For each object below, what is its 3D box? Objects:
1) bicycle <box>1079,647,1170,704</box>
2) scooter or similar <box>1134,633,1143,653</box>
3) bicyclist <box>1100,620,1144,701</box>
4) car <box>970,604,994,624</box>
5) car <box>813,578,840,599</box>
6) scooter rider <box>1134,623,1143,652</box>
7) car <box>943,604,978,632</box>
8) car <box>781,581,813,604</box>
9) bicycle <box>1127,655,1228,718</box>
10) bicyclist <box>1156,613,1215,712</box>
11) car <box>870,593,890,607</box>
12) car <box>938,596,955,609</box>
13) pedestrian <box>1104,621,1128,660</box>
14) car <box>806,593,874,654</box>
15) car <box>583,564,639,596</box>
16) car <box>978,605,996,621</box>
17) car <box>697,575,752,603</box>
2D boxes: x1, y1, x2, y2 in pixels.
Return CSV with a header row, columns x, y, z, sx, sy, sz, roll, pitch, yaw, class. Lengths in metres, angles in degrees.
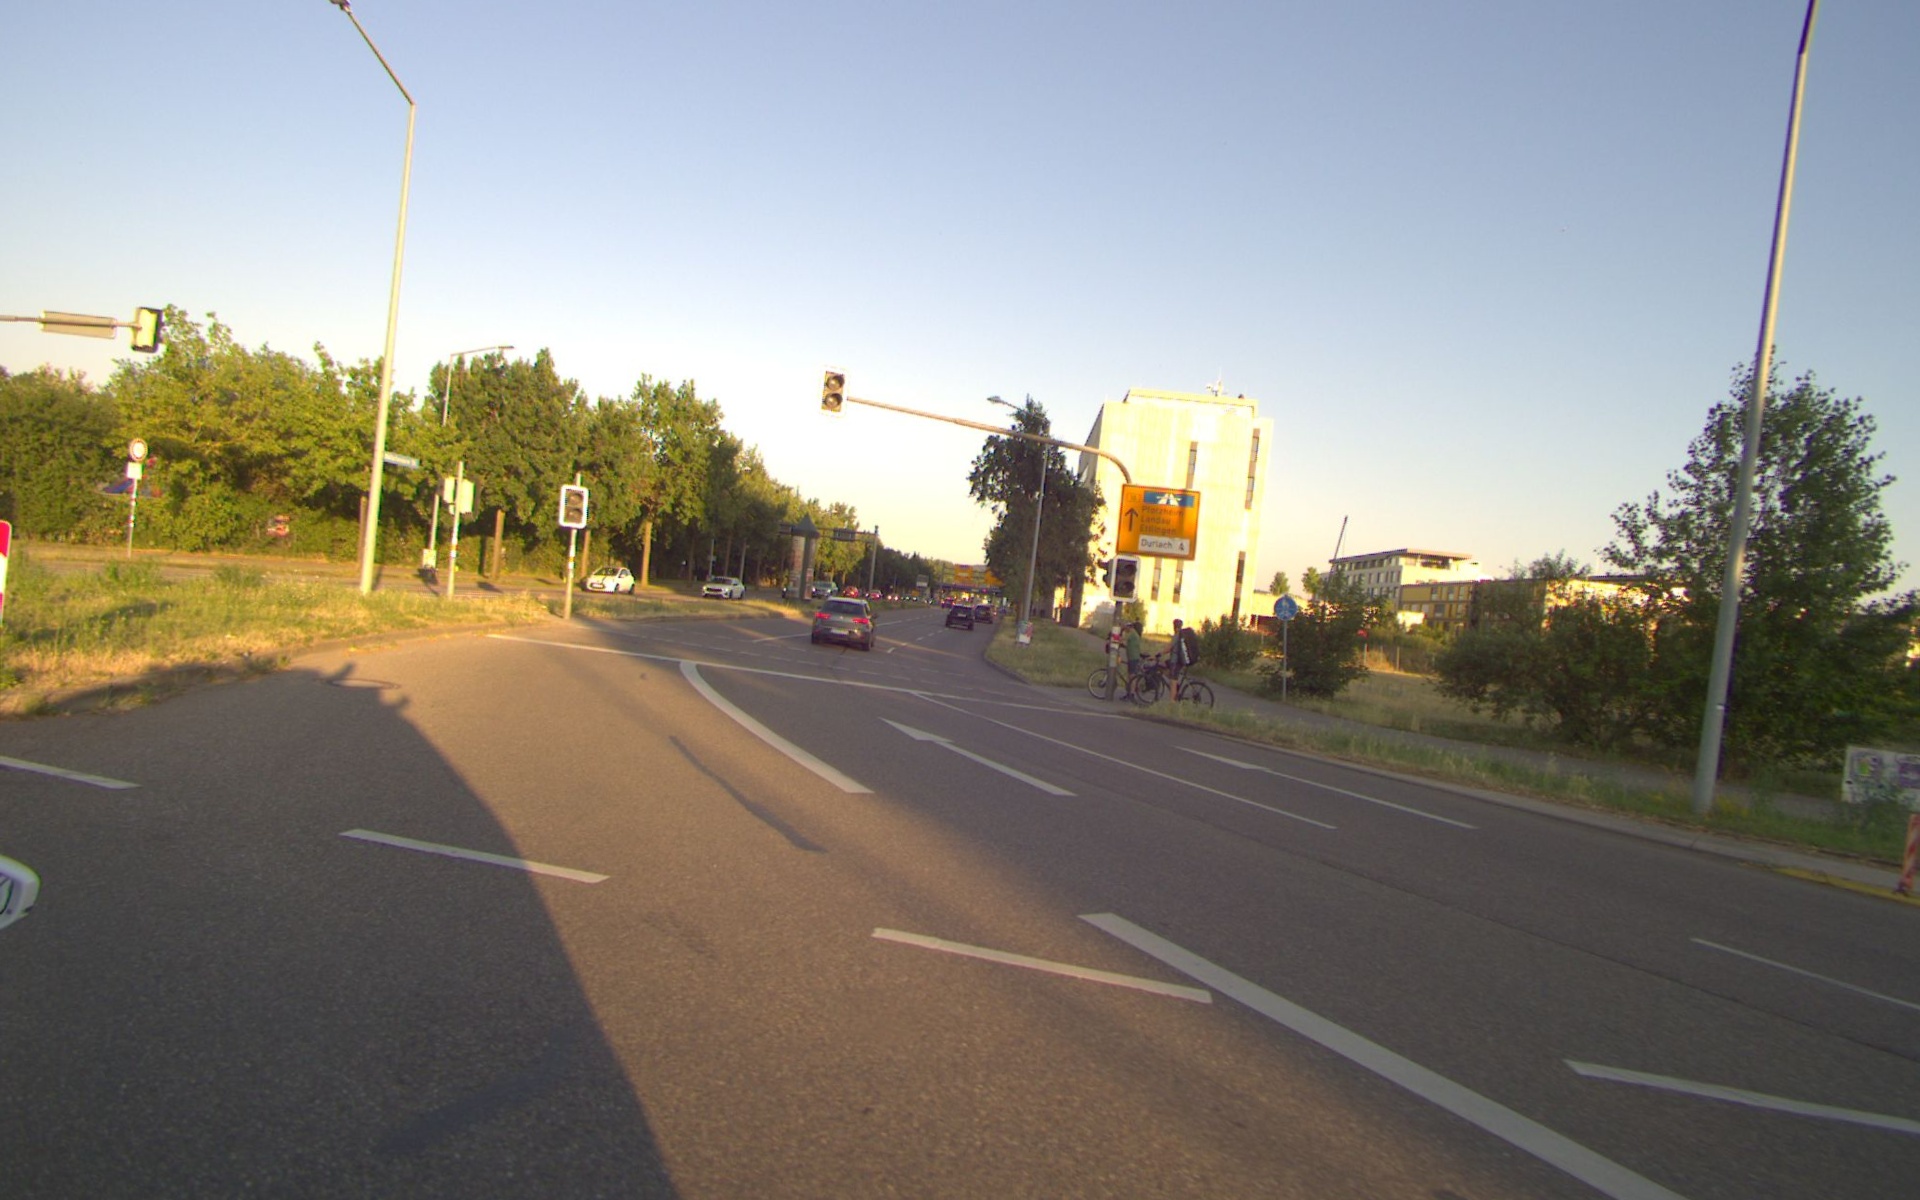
x,y,z,sx,sy,sz,roll,pitch,yaw,class
3.704,1.693,22.699,1.892,1.099,0.456,4,1,0,bicycle
8.587,2.078,48.479,0.242,0.925,1.039,7,1,5,scooter or similar
3.654,1.355,22.741,0.755,1.724,0.641,4,1,-1,bicyclist
1.954,1.193,86.575,1.718,1.507,4.135,7,0,4,car
-13.345,-1.131,100.803,1.887,1.776,4.921,6,-1,0,car
8.600,1.800,48.443,0.260,1.356,0.406,7,1,5,scooter rider
0.063,1.140,65.344,1.784,1.544,4.135,7,0,5,car
-14.085,-0.640,87.089,1.769,1.653,4.457,6,-1,2,car
4.445,1.769,20.635,1.892,1.099,0.456,5,1,0,bicycle
4.621,1.273,20.684,0.893,1.922,0.641,5,1,-1,bicyclist
-10.560,0.048,133.269,1.811,1.478,4.583,7,-1,4,car
-1.798,0.349,132.567,1.963,1.489,3.999,7,0,0,car
6.740,1.755,43.499,0.782,1.569,0.567,6,1,2,pedestrian
-3.583,0.644,30.108,1.721,1.442,4.128,7,0,-7,car
-19.021,-1.061,54.932,1.524,1.461,3.488,6,-1,5,car
3.144,1.523,116.895,1.876,1.638,3.999,7,0,0,car
-15.021,-0.667,64.474,1.694,1.467,4.551,6,0,9,car
